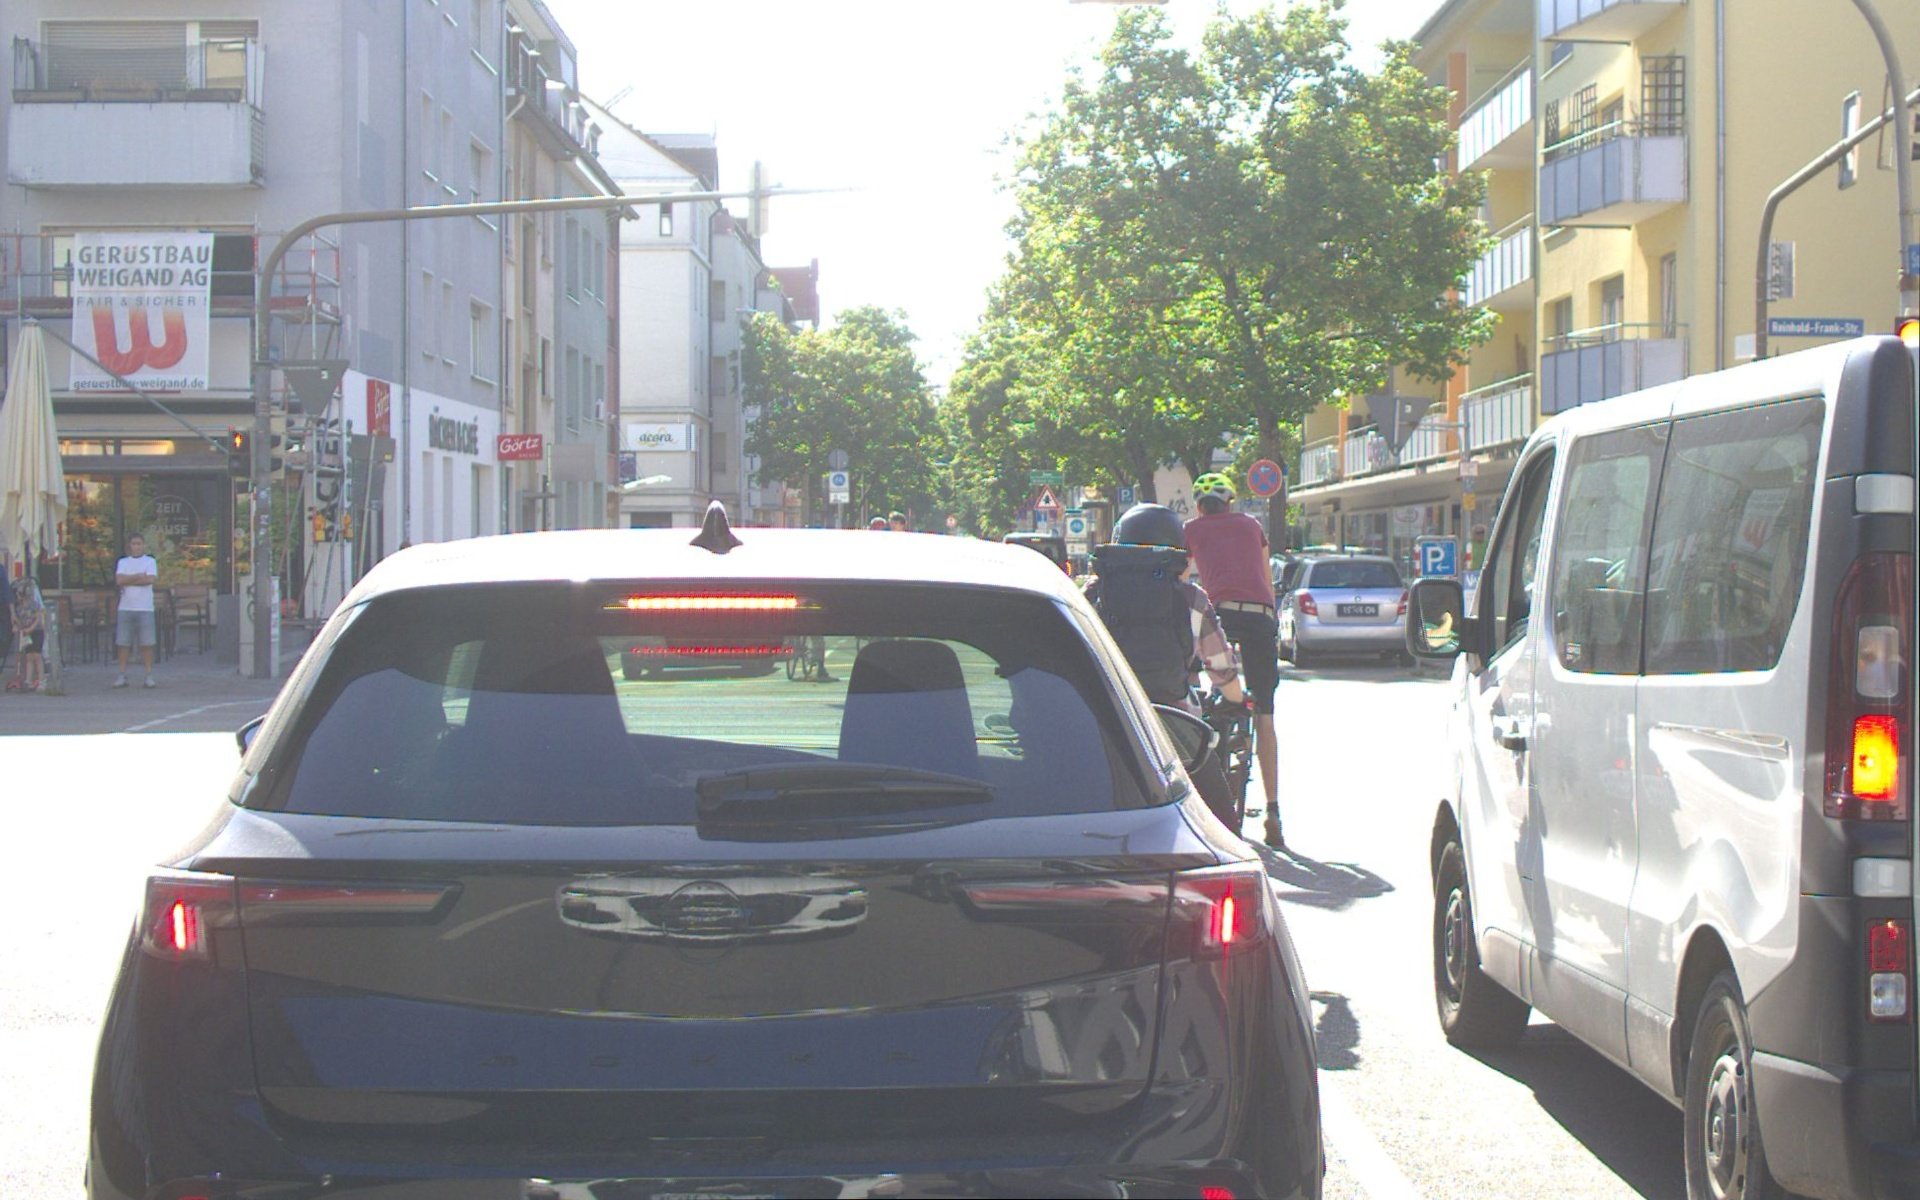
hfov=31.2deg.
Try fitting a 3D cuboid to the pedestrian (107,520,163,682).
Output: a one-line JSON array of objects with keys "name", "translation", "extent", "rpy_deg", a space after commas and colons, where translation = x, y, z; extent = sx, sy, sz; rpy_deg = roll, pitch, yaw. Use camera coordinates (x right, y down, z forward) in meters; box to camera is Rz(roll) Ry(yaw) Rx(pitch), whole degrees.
[{"name": "pedestrian", "translation": [-9.134, 0.006, 38.070], "extent": [0.561, 1.769, 0.584], "rpy_deg": [0, 1, -9]}]

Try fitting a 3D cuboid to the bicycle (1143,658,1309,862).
[{"name": "bicycle", "translation": [1.336, 0.785, 17.635], "extent": [0.577, 0.901, 2.301], "rpy_deg": [0, 1, -2]}]

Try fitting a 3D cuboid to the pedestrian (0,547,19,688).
[{"name": "pedestrian", "translation": [-10.606, 0.182, 37.410], "extent": [0.584, 1.516, 0.650], "rpy_deg": [0, 1, -3]}]

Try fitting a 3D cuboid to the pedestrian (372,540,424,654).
[{"name": "pedestrian", "translation": [-7.533, -0.040, 46.121], "extent": [0.617, 1.516, 0.725], "rpy_deg": [0, 1, -3]}]

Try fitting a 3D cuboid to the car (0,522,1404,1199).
[{"name": "car", "translation": [-0.408, 0.632, 6.323], "extent": [1.770, 1.525, 4.001], "rpy_deg": [0, 1, -2]}]

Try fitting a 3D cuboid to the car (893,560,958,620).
[{"name": "car", "translation": [-0.999, -0.323, 102.554], "extent": [1.825, 1.722, 4.000], "rpy_deg": [0, 1, 1]}]

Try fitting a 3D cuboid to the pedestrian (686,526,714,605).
[{"name": "pedestrian", "translation": [-5.604, -0.745, 74.135], "extent": [0.570, 1.684, 0.588], "rpy_deg": [0, 1, -1]}]

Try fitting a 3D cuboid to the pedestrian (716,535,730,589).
[{"name": "pedestrian", "translation": [-7.269, -1.161, 105.640], "extent": [0.402, 1.669, 0.418], "rpy_deg": [0, 1, -1]}]

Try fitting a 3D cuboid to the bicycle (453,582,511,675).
[{"name": "bicycle", "translation": [-6.101, 0.349, 43.969], "extent": [0.521, 1.143, 2.284], "rpy_deg": [0, 1, -2]}]

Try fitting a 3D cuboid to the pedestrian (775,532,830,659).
[{"name": "pedestrian", "translation": [-2.004, -0.059, 43.811], "extent": [0.680, 1.600, 0.762], "rpy_deg": [0, 1, -2]}]

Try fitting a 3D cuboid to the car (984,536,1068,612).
[{"name": "car", "translation": [1.522, -0.630, 80.306], "extent": [1.902, 1.722, 4.073], "rpy_deg": [0, 1, 0]}]

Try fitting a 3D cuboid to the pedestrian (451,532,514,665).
[{"name": "pedestrian", "translation": [-6.050, -0.028, 43.594], "extent": [0.706, 1.672, 0.802], "rpy_deg": [0, 1, -2]}]

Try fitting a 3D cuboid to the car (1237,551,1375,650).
[{"name": "car", "translation": [5.184, -0.022, 51.861], "extent": [1.634, 1.428, 4.000], "rpy_deg": [0, 1, -1]}]

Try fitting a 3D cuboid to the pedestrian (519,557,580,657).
[{"name": "pedestrian", "translation": [-5.196, 0.087, 43.516], "extent": [0.706, 1.249, 0.802], "rpy_deg": [0, 1, -2]}]

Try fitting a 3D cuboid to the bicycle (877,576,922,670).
[{"name": "bicycle", "translation": [-0.774, 0.280, 43.701], "extent": [0.521, 1.143, 2.170], "rpy_deg": [0, 1, -2]}]

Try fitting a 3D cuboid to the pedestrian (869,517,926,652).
[{"name": "pedestrian", "translation": [-0.795, -0.198, 43.549], "extent": [0.706, 1.695, 0.802], "rpy_deg": [0, 1, -2]}]

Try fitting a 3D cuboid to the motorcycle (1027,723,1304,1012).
[{"name": "motorcycle", "translation": [0.688, 0.907, 12.140], "extent": [0.825, 0.842, 1.885], "rpy_deg": [0, 1, -1]}]

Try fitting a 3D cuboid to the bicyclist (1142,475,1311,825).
[{"name": "bicyclist", "translation": [1.340, 0.234, 17.495], "extent": [0.689, 1.707, 1.414], "rpy_deg": [0, 1, -2]}]

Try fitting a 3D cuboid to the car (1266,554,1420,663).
[{"name": "car", "translation": [5.224, 0.086, 47.265], "extent": [1.634, 1.428, 3.957], "rpy_deg": [0, 1, -1]}]

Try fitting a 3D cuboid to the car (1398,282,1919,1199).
[{"name": "car", "translation": [2.452, 0.432, 8.425], "extent": [1.993, 1.972, 4.895], "rpy_deg": [2, 1, -1]}]

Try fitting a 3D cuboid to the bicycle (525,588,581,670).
[{"name": "bicycle", "translation": [-5.185, 0.358, 43.878], "extent": [0.521, 0.989, 2.340], "rpy_deg": [0, 1, -2]}]

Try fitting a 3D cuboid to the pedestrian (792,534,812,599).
[{"name": "pedestrian", "translation": [-4.128, -0.881, 89.890], "extent": [0.488, 1.684, 0.588], "rpy_deg": [0, 1, -1]}]

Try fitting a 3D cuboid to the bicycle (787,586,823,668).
[{"name": "bicycle", "translation": [-1.981, 0.333, 43.988], "extent": [0.443, 0.989, 2.069], "rpy_deg": [0, 1, -2]}]

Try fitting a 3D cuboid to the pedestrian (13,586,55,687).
[{"name": "pedestrian", "translation": [-10.087, 0.398, 37.463], "extent": [0.355, 1.088, 0.462], "rpy_deg": [0, 1, -3]}]

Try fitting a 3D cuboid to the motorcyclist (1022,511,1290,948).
[{"name": "motorcyclist", "translation": [0.684, 0.436, 12.377], "extent": [0.864, 1.497, 1.160], "rpy_deg": [0, 1, -2]}]

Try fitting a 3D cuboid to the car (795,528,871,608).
[{"name": "car", "translation": [-3.242, -0.844, 88.253], "extent": [1.855, 2.007, 3.881], "rpy_deg": [0, 1, -1]}]

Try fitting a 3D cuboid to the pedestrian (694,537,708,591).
[{"name": "pedestrian", "translation": [-7.981, -1.122, 106.004], "extent": [0.402, 1.669, 0.418], "rpy_deg": [0, 1, -1]}]

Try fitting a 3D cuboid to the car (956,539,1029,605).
[{"name": "car", "translation": [0.860, -0.771, 92.173], "extent": [1.902, 1.722, 4.000], "rpy_deg": [0, 1, 0]}]
